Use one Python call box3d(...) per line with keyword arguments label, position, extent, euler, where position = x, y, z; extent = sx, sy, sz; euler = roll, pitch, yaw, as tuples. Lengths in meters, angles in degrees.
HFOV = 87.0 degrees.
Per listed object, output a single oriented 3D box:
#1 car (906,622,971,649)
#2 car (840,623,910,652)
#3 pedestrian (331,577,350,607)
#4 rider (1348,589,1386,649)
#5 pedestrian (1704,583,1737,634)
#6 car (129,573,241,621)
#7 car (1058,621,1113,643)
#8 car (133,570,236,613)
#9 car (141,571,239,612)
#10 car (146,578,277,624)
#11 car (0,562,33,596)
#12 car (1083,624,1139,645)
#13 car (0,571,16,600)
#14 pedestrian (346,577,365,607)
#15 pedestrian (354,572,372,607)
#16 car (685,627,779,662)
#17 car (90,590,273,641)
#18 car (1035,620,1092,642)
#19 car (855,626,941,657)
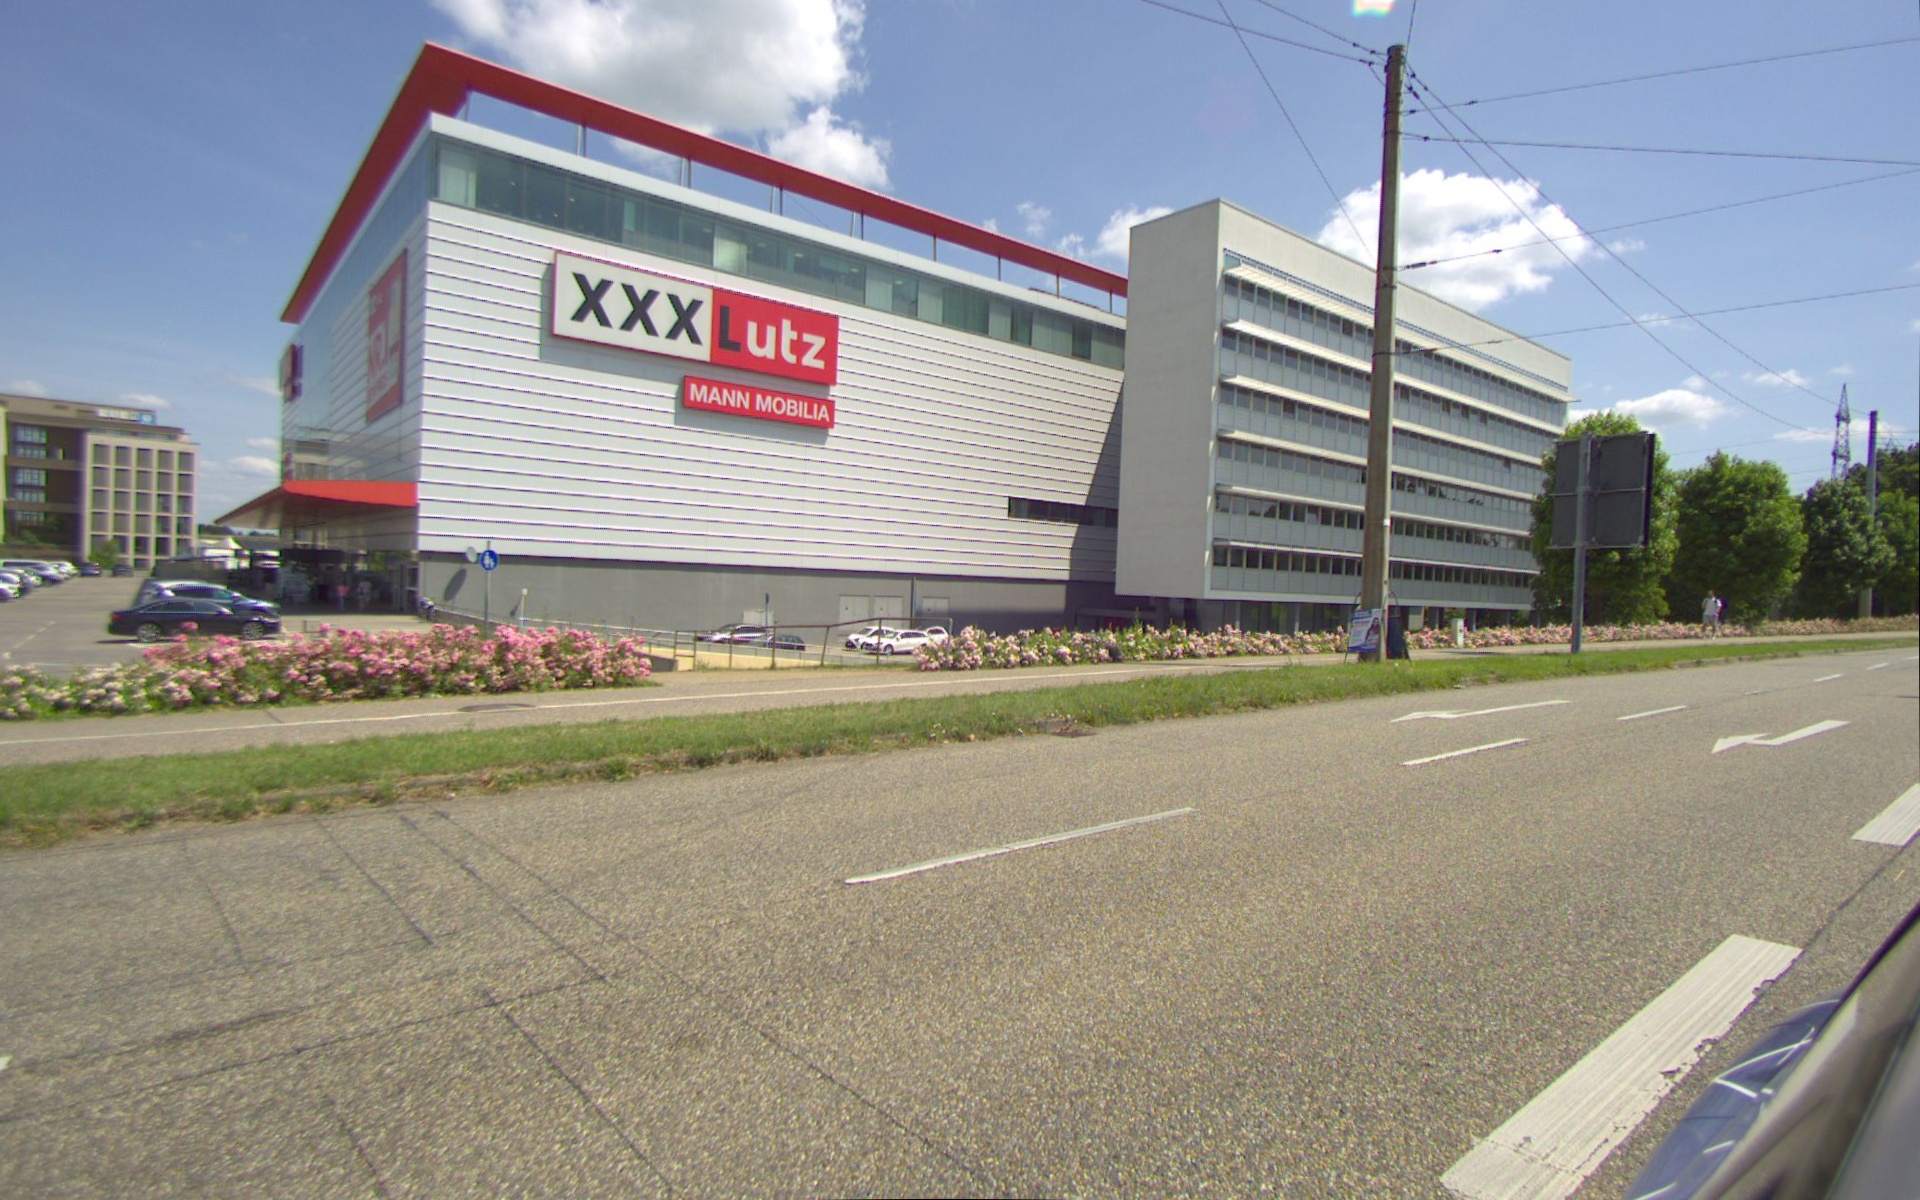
box3d(label="car", position=(-1.369, 2.302, 66.636), extent=(3.930, 1.632, 1.997), euler=(0, 1, -41))
box3d(label="car", position=(-5.275, 2.319, 62.849), extent=(3.930, 1.632, 1.997), euler=(0, 1, -41))
box3d(label="pedestrian", position=(-32.979, -0.417, 53.844), extent=(0.723, 1.577, 0.741), euler=(1, 0, -42))
box3d(label="rider", position=(10.174, 0.458, 25.310), extent=(0.607, 1.476, 0.670), euler=(0, 0, -41))
box3d(label="pedestrian", position=(28.208, 0.303, 37.543), extent=(0.913, 1.872, 0.758), euler=(0, 0, -38))
box3d(label="car", position=(-34.988, -0.160, 45.741), extent=(3.930, 2.039, 1.997), euler=(0, 1, -41))
box3d(label="car", position=(8.927, 2.257, 71.689), extent=(3.930, 1.403, 1.646), euler=(0, 1, -41))
box3d(label="car", position=(-38.317, -0.431, 50.055), extent=(3.930, 2.039, 1.997), euler=(0, 0, -41))
box3d(label="car", position=(-39.746, -0.437, 52.286), extent=(3.930, 2.039, 1.997), euler=(0, 1, -41))
box3d(label="car", position=(-31.020, 0.033, 41.984), extent=(4.257, 1.804, 1.997), euler=(0, -1, -41))
box3d(label="car", position=(-59.424, -1.281, 61.918), extent=(3.930, 2.039, 1.997), euler=(0, 1, -41))
box3d(label="car", position=(10.408, 2.345, 69.568), extent=(3.930, 1.338, 1.607), euler=(0, 1, -41))
box3d(label="car", position=(-55.144, -0.811, 55.448), extent=(4.912, 1.631, 1.997), euler=(0, 0, -41))
box3d(label="pedestrian", position=(-31.887, -0.432, 53.422), extent=(0.723, 1.577, 0.741), euler=(1, 0, -42))
box3d(label="pedestrian", position=(-32.252, -0.568, 54.675), extent=(0.723, 1.893, 0.741), euler=(1, 0, -42))
box3d(label="car", position=(-12.183, 2.343, 54.229), extent=(4.509, 1.632, 1.997), euler=(0, 1, -41))
box3d(label="car", position=(-26.933, 0.499, 35.143), extent=(4.912, 1.631, 1.997), euler=(0, 0, -41))
box3d(label="car", position=(7.526, 2.210, 73.592), extent=(3.930, 1.465, 1.997), euler=(0, 1, -41))
box3d(label="car", position=(-3.713, 2.494, 61.138), extent=(5.056, 1.632, 1.997), euler=(0, 1, -41))
